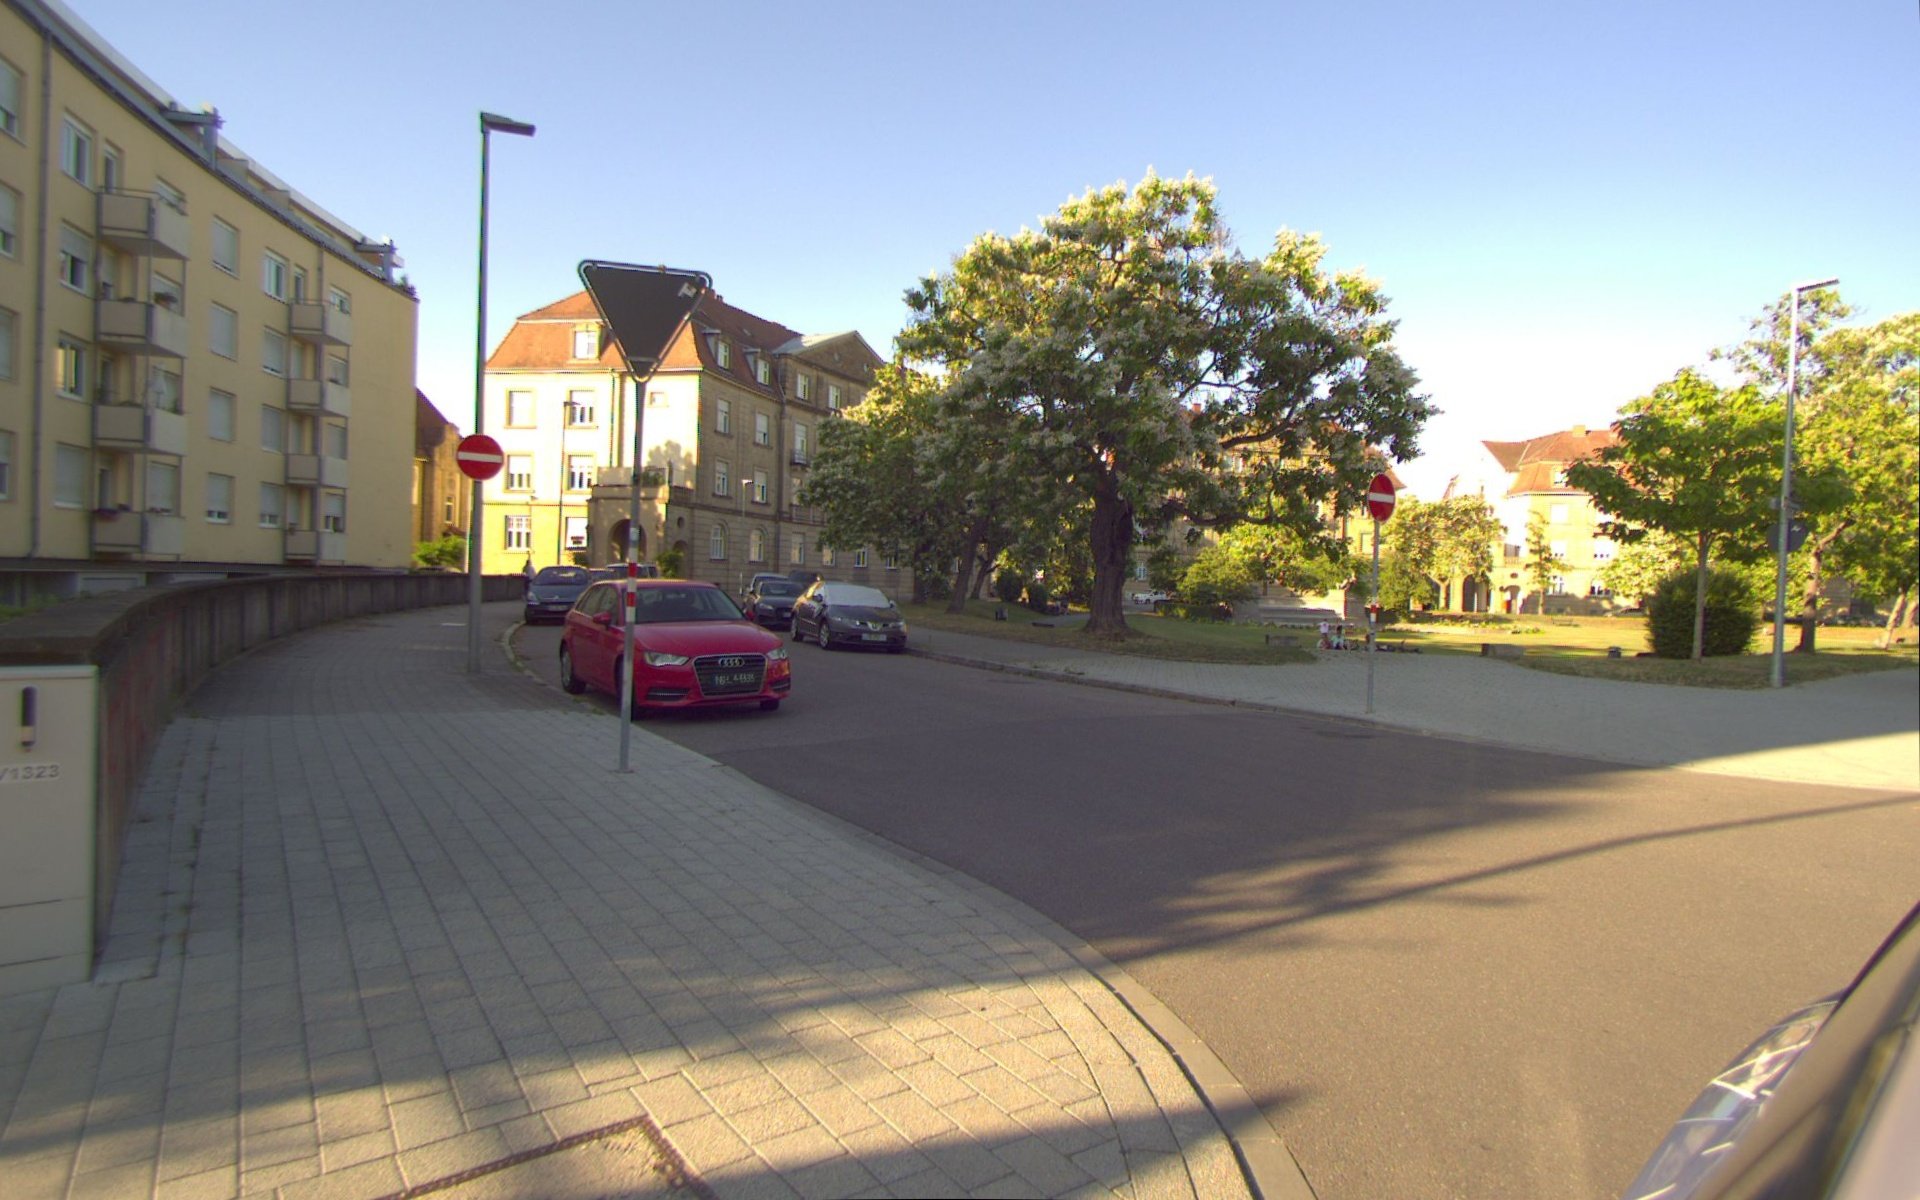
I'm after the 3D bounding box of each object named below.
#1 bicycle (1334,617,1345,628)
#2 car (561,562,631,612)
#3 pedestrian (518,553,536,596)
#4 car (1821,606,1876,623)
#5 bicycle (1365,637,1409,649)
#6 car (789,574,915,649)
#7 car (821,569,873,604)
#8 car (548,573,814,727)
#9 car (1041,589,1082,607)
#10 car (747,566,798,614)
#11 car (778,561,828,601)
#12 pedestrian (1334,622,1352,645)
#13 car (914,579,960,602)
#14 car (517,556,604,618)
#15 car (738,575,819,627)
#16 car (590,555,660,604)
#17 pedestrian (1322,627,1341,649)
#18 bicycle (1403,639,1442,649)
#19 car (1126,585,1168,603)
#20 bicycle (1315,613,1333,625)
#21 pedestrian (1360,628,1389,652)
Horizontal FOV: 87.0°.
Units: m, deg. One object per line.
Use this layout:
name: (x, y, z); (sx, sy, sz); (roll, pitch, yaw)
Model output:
bicycle: (21.415, 1.247, 57.116); (0.480, 0.590, 0.437); (1, 0, 13)
car: (-12.250, -0.466, 34.261); (1.671, 1.596, 4.055); (0, 2, -12)
pedestrian: (-16.731, -0.980, 39.101); (0.496, 1.612, 0.527); (1, 0, -10)
car: (83.038, 1.320, 94.623); (3.679, 1.518, 1.705); (1, 0, 34)
bicycle: (16.231, 1.626, 38.450); (1.896, 0.387, 0.659); (1, 1, -37)
car: (-2.467, 0.215, 22.169); (1.690, 1.445, 4.008); (3, 0, -22)
car: (-6.243, -0.742, 56.042); (1.700, 1.779, 3.689); (2, 0, 13)
car: (-3.403, 0.426, 11.781); (1.755, 1.437, 4.048); (-2, 2, -34)
car: (9.117, -0.171, 90.767); (1.768, 1.603, 3.943); (1, 0, 39)
car: (-7.026, -0.359, 37.668); (1.690, 1.648, 3.711); (3, 0, -12)
car: (-7.698, -0.907, 50.034); (1.695, 1.779, 3.701); (2, 0, 2)
pedestrian: (14.573, 1.281, 38.523); (0.488, 0.845, 0.455); (1, 0, -6)
car: (-1.635, -0.699, 73.613); (1.711, 1.518, 3.666); (2, 0, 29)
car: (-11.041, -0.391, 28.200); (1.671, 1.596, 4.056); (-1, 2, -13)
car: (-5.184, 0.006, 28.593); (1.690, 1.313, 3.712); (3, 0, -18)
car: (-13.294, -0.786, 40.372); (1.673, 1.818, 4.050); (1, 0, -4)
pedestrian: (13.396, 1.369, 36.483); (0.447, 0.756, 0.497); (1, 0, -43)
bicycle: (18.170, 1.710, 39.776); (1.671, 0.323, 0.659); (1, 1, -36)
car: (17.765, -0.529, 96.238); (3.631, 1.518, 1.727); (3, -1, -32)
bicycle: (20.616, 1.088, 57.291); (0.891, 0.660, 0.437); (1, 0, 13)
pedestrian: (14.892, 1.431, 36.348); (0.795, 0.774, 0.498); (2, 0, 1)
